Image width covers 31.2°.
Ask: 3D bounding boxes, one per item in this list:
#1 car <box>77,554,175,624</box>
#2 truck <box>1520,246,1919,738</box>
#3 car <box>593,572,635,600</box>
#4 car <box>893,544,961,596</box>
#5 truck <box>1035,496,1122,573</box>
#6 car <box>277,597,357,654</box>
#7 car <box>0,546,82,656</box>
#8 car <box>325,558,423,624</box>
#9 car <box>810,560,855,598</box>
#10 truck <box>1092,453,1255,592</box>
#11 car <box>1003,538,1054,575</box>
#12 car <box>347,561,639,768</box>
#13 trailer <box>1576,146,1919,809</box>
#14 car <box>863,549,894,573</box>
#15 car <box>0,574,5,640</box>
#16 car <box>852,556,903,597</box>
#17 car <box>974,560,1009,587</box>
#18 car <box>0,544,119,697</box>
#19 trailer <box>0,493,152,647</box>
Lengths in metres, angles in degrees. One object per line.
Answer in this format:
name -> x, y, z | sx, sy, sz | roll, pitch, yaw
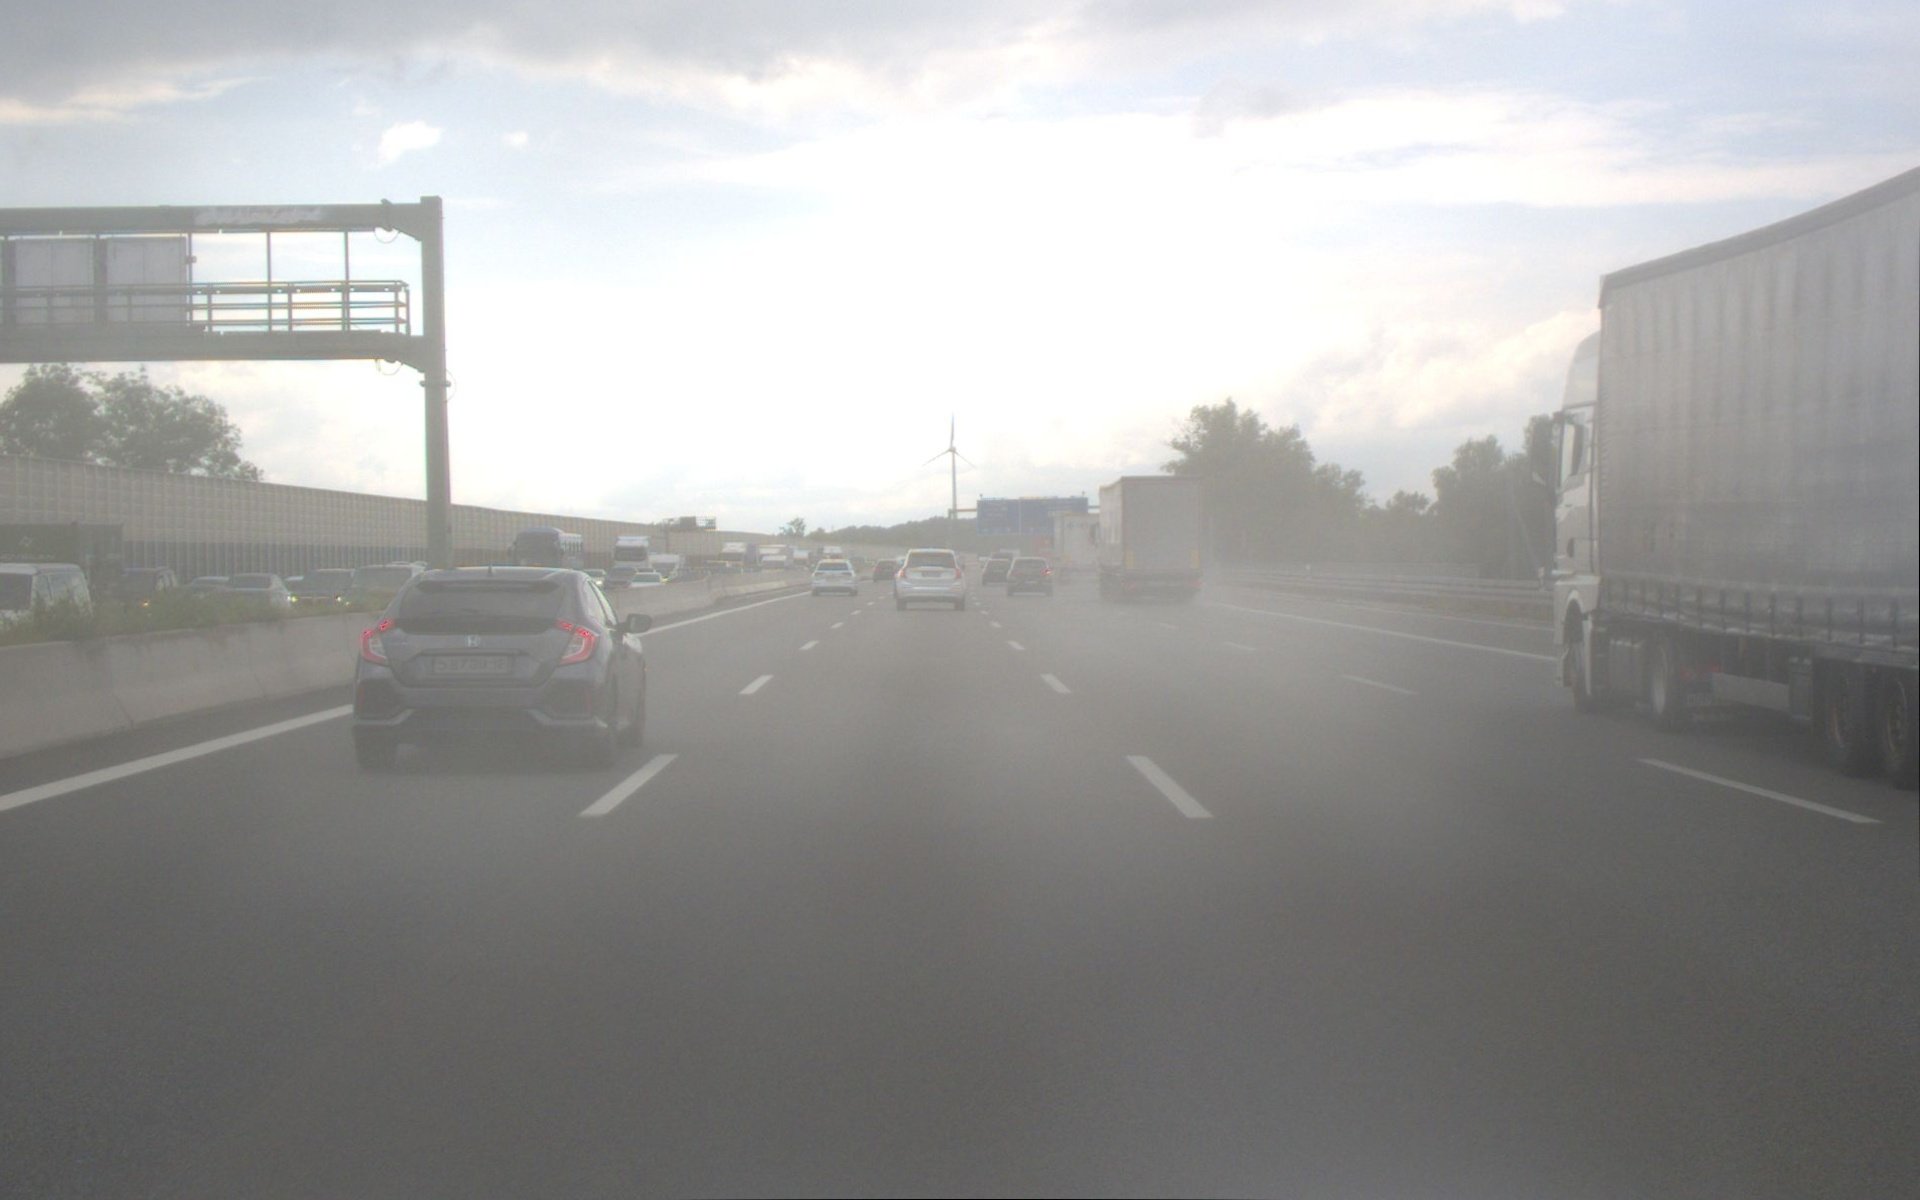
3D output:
car -> -22.774, -0.314, 93.997 | 1.747, 1.841, 4.166 | -1, 1, -1
truck -> 7.172, -0.943, 31.371 | 2.961, 4.006, 6.589 | 0, 1, -1
car -> -19.217, -0.778, 191.044 | 1.747, 1.520, 4.927 | -1, 1, 0
car -> -0.961, -0.877, 98.438 | 1.772, 1.436, 4.056 | 0, 1, -3
truck -> 6.637, -3.665, 194.197 | 4.243, 4.162, 11.990 | 1, 1, -1
car -> -18.837, 0.742, 100.807 | 1.682, 1.572, 3.875 | -1, 1, -1
car -> -19.130, -0.014, 67.015 | 2.449, 2.044, 6.194 | -1, 1, 0
car -> -15.701, -0.269, 92.316 | 1.816, 1.703, 4.807 | -1, 1, 0
car -> -5.068, -0.853, 136.386 | 1.772, 1.436, 3.874 | 0, 1, -2
truck -> 6.944, -2.540, 114.441 | 4.179, 4.273, 12.614 | 1, 1, -2
car -> 2.703, -1.721, 135.786 | 1.835, 1.436, 4.056 | 0, 1, -1
car -> -3.446, 0.417, 26.185 | 1.760, 1.364, 5.061 | 0, 1, -3
trailer -> 7.248, -0.814, 24.664 | 2.961, 4.006, 14.119 | 0, 1, -1
car -> -5.108, -2.443, 214.652 | 1.772, 1.436, 4.056 | 0, 1, -3
car -> -22.614, 0.181, 76.165 | 1.816, 1.490, 3.900 | -1, 1, 0
car -> -3.055, -0.876, 126.895 | 1.772, 1.436, 4.056 | 0, 1, -3
car -> 1.766, -1.518, 193.861 | 1.835, 1.436, 4.056 | 0, 1, -1
car -> -14.786, 0.283, 53.083 | 2.230, 2.229, 5.513 | -1, 1, 0
trailer -> -19.143, -0.649, 73.137 | 2.449, 3.128, 6.051 | -1, 1, 0
